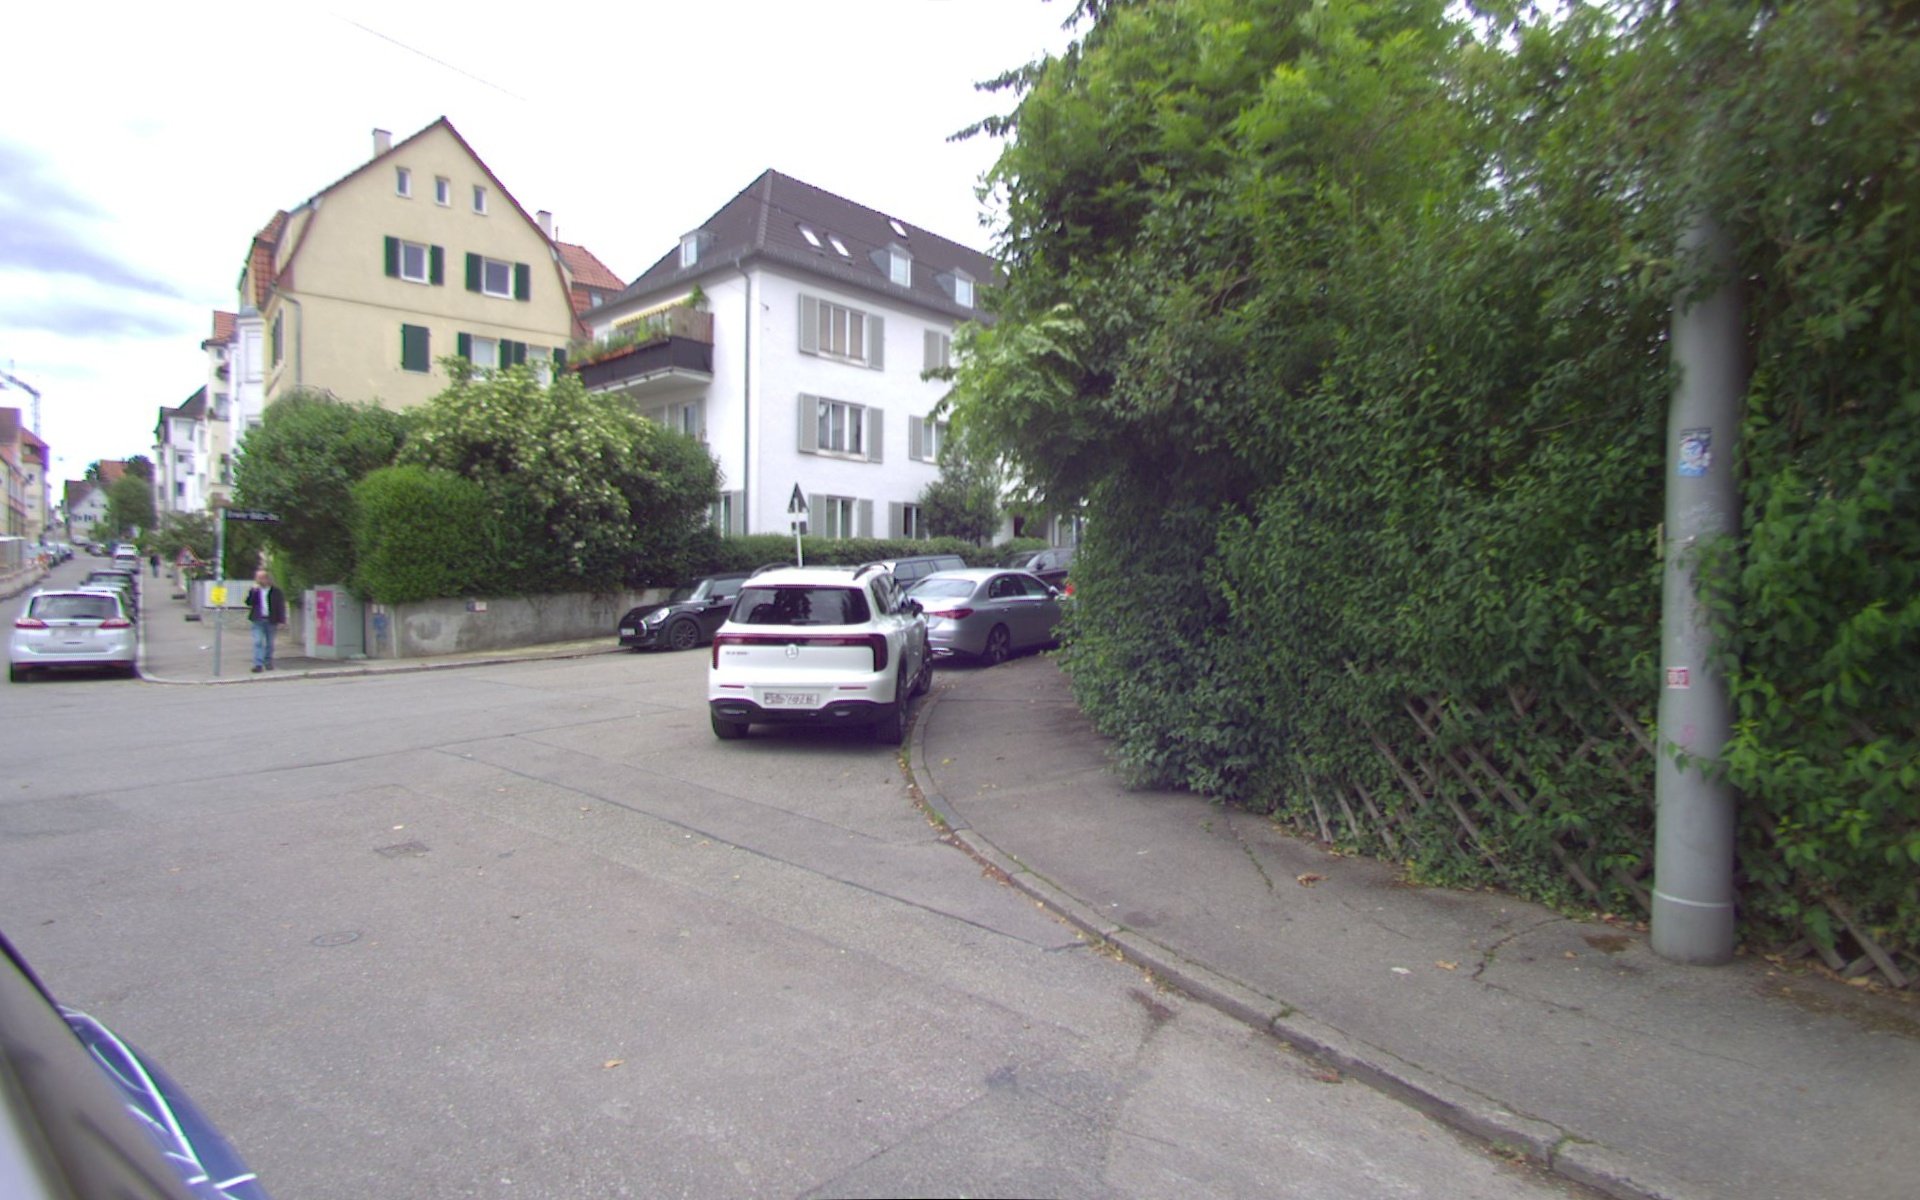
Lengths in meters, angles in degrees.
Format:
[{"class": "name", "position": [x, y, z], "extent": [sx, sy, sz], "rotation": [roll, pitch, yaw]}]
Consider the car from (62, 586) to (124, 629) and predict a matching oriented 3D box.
[{"class": "car", "position": [-32.347, 0.263, 37.824], "extent": [1.618, 1.409, 3.710], "rotation": [3, 1, -40]}]

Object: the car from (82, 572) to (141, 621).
[{"class": "car", "position": [-35.124, -0.178, 41.845], "extent": [1.727, 1.810, 4.155], "rotation": [1, 2, -42]}]

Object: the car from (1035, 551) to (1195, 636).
[{"class": "car", "position": [3.208, -0.187, 20.366], "extent": [1.630, 1.448, 3.743], "rotation": [0, 3, 36]}]

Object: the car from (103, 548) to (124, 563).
[{"class": "car", "position": [-101.619, -5.348, 121.543], "extent": [1.755, 1.578, 4.009], "rotation": [0, 3, -38]}]

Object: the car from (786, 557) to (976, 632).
[{"class": "car", "position": [-1.849, -0.192, 25.103], "extent": [1.887, 1.493, 4.672], "rotation": [-1, 4, 40]}]

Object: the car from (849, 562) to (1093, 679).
[{"class": "car", "position": [0.348, 0.220, 16.524], "extent": [1.829, 1.447, 4.465], "rotation": [-1, 4, 33]}]

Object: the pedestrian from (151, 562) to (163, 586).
[{"class": "pedestrian", "position": [-56.244, -1.847, 70.861], "extent": [0.607, 1.668, 0.814], "rotation": [-2, 3, -38]}]

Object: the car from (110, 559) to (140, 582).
[{"class": "car", "position": [-62.862, -2.248, 76.206], "extent": [1.637, 1.578, 4.009], "rotation": [1, 3, -38]}]

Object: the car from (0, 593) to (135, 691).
[{"class": "car", "position": [-17.071, 0.735, 19.498], "extent": [1.781, 1.672, 4.158], "rotation": [1, -1, -40]}]

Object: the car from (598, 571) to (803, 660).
[{"class": "car", "position": [-5.276, 0.268, 20.903], "extent": [1.787, 1.534, 3.669], "rotation": [-1, 3, 42]}]

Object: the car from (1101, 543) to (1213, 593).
[{"class": "car", "position": [6.754, -1.110, 34.361], "extent": [1.792, 1.428, 4.233], "rotation": [0, 4, 42]}]

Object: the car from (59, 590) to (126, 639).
[{"class": "car", "position": [-29.239, 0.469, 34.185], "extent": [1.618, 1.439, 4.131], "rotation": [2, 1, -40]}]

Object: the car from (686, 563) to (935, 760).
[{"class": "car", "position": [-1.366, 0.465, 11.071], "extent": [1.810, 1.667, 4.511], "rotation": [-2, 2, 3]}]

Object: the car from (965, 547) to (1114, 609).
[{"class": "car", "position": [2.434, -0.680, 29.748], "extent": [1.888, 1.493, 4.670], "rotation": [0, 4, 42]}]

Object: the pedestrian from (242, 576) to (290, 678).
[{"class": "pedestrian", "position": [-12.513, 0.476, 18.254], "extent": [0.633, 1.773, 0.825], "rotation": [-3, 1, -34]}]
